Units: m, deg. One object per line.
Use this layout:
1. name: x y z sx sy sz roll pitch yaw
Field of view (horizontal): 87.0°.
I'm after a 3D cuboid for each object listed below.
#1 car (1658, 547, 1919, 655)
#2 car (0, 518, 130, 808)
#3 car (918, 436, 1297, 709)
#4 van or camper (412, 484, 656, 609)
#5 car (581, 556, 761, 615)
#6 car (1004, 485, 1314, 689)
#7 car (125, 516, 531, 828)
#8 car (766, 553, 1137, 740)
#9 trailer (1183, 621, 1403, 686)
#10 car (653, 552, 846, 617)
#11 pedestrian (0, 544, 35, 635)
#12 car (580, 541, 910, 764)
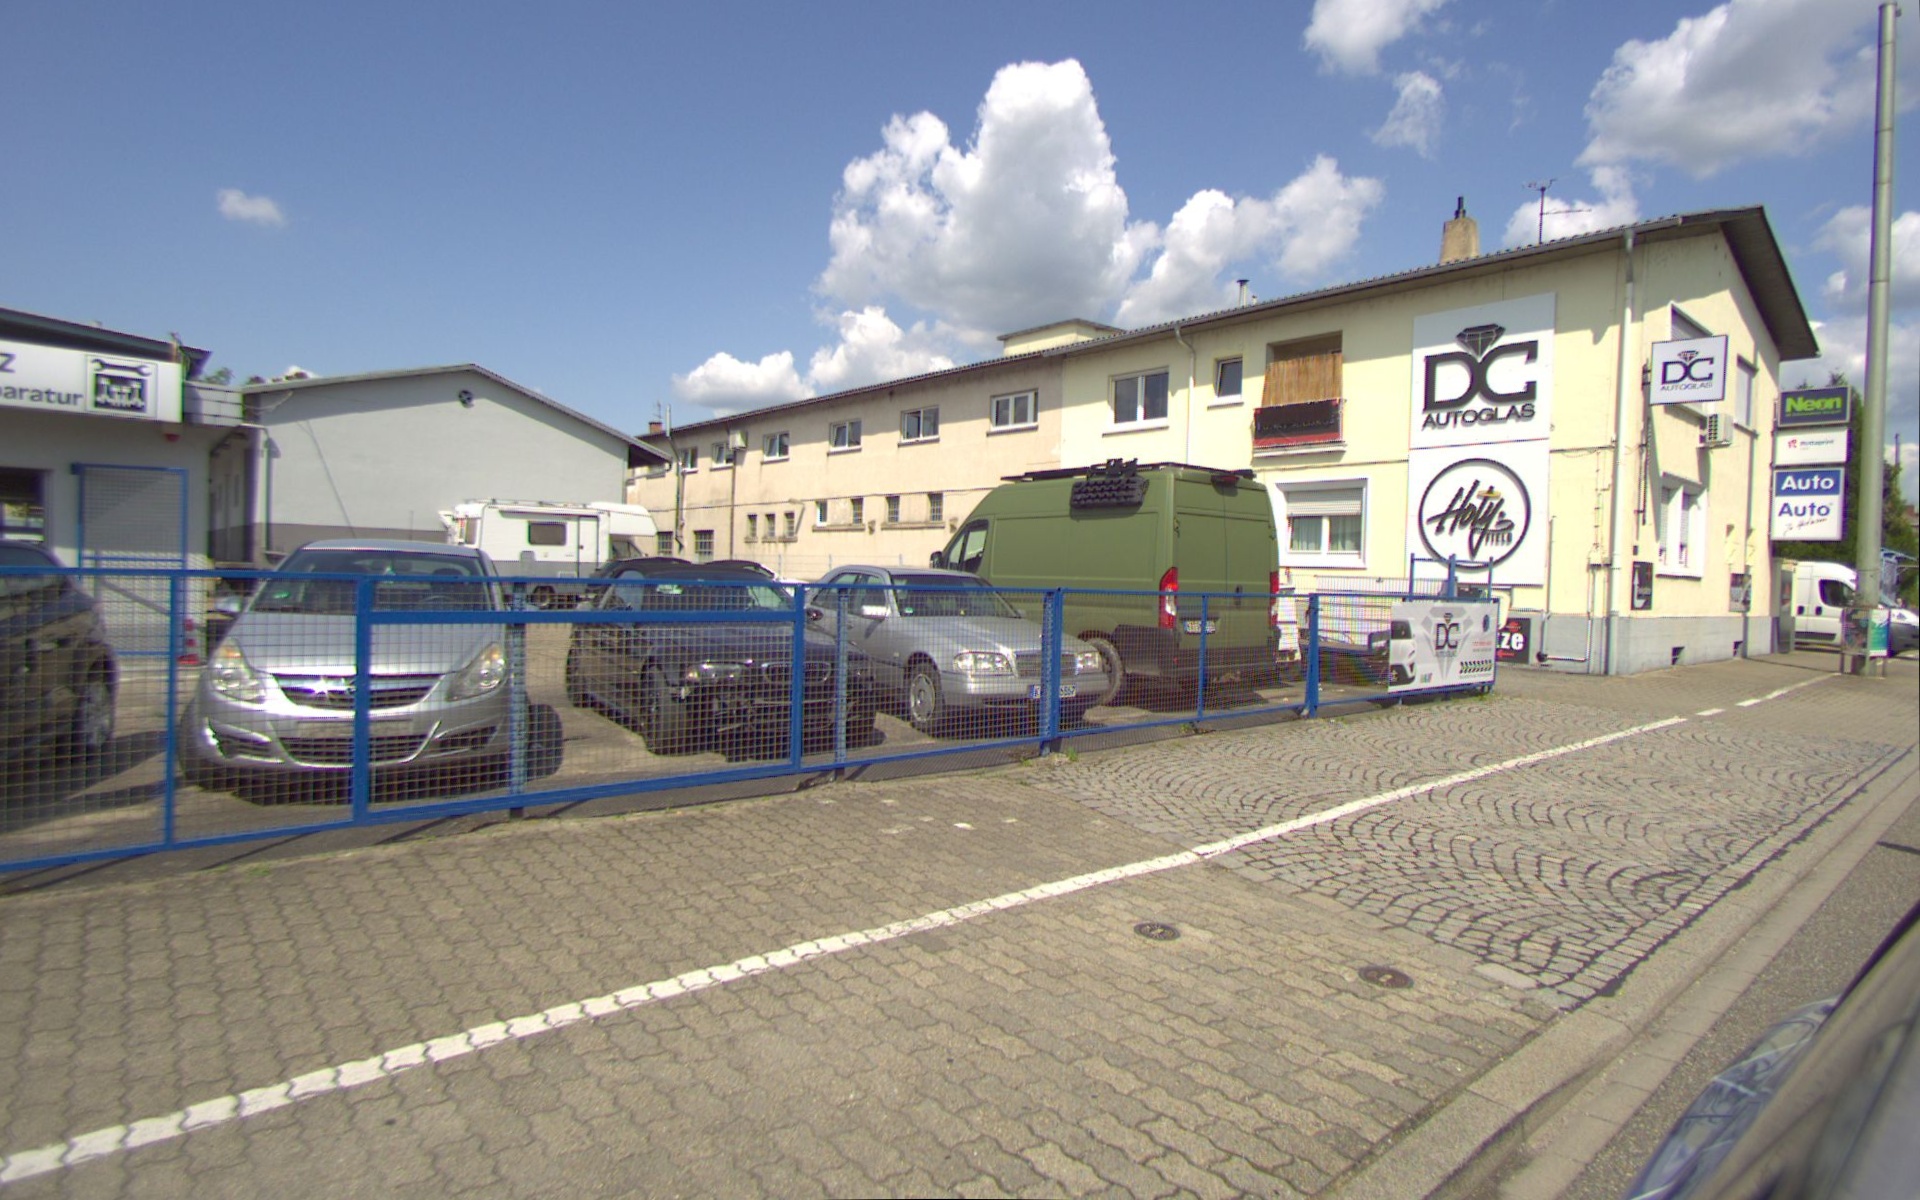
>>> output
1. car: 22.763 -0.074 27.466 2.055 2.493 5.838 0 4 -39
2. car: -5.643 0.303 4.920 1.606 1.470 3.700 1 2 -25
3. car: 1.594 -0.347 12.250 2.075 2.675 4.208 1 2 -39
4. van or camper: -11.298 -1.323 27.105 5.556 3.002 2.272 0 2 -42
5. car: -7.301 -0.357 25.805 4.112 1.378 1.645 0 2 -41
6. car: 2.617 -0.230 14.212 1.557 2.436 4.208 1 2 -39
7. car: -3.892 0.282 6.834 1.736 1.470 3.778 1 2 -24
8. car: -0.332 0.289 10.197 1.679 1.470 4.292 1 2 -33
9. trailer: 4.755 0.727 14.645 1.307 0.674 2.730 0 2 -42
10. car: -4.838 -0.347 23.542 4.112 1.378 1.645 0 2 -41
11. pedestrian: -13.155 -0.156 13.875 0.652 1.224 0.566 1 1 -39
12. car: -2.122 0.276 8.891 1.737 1.470 4.128 1 2 -28
